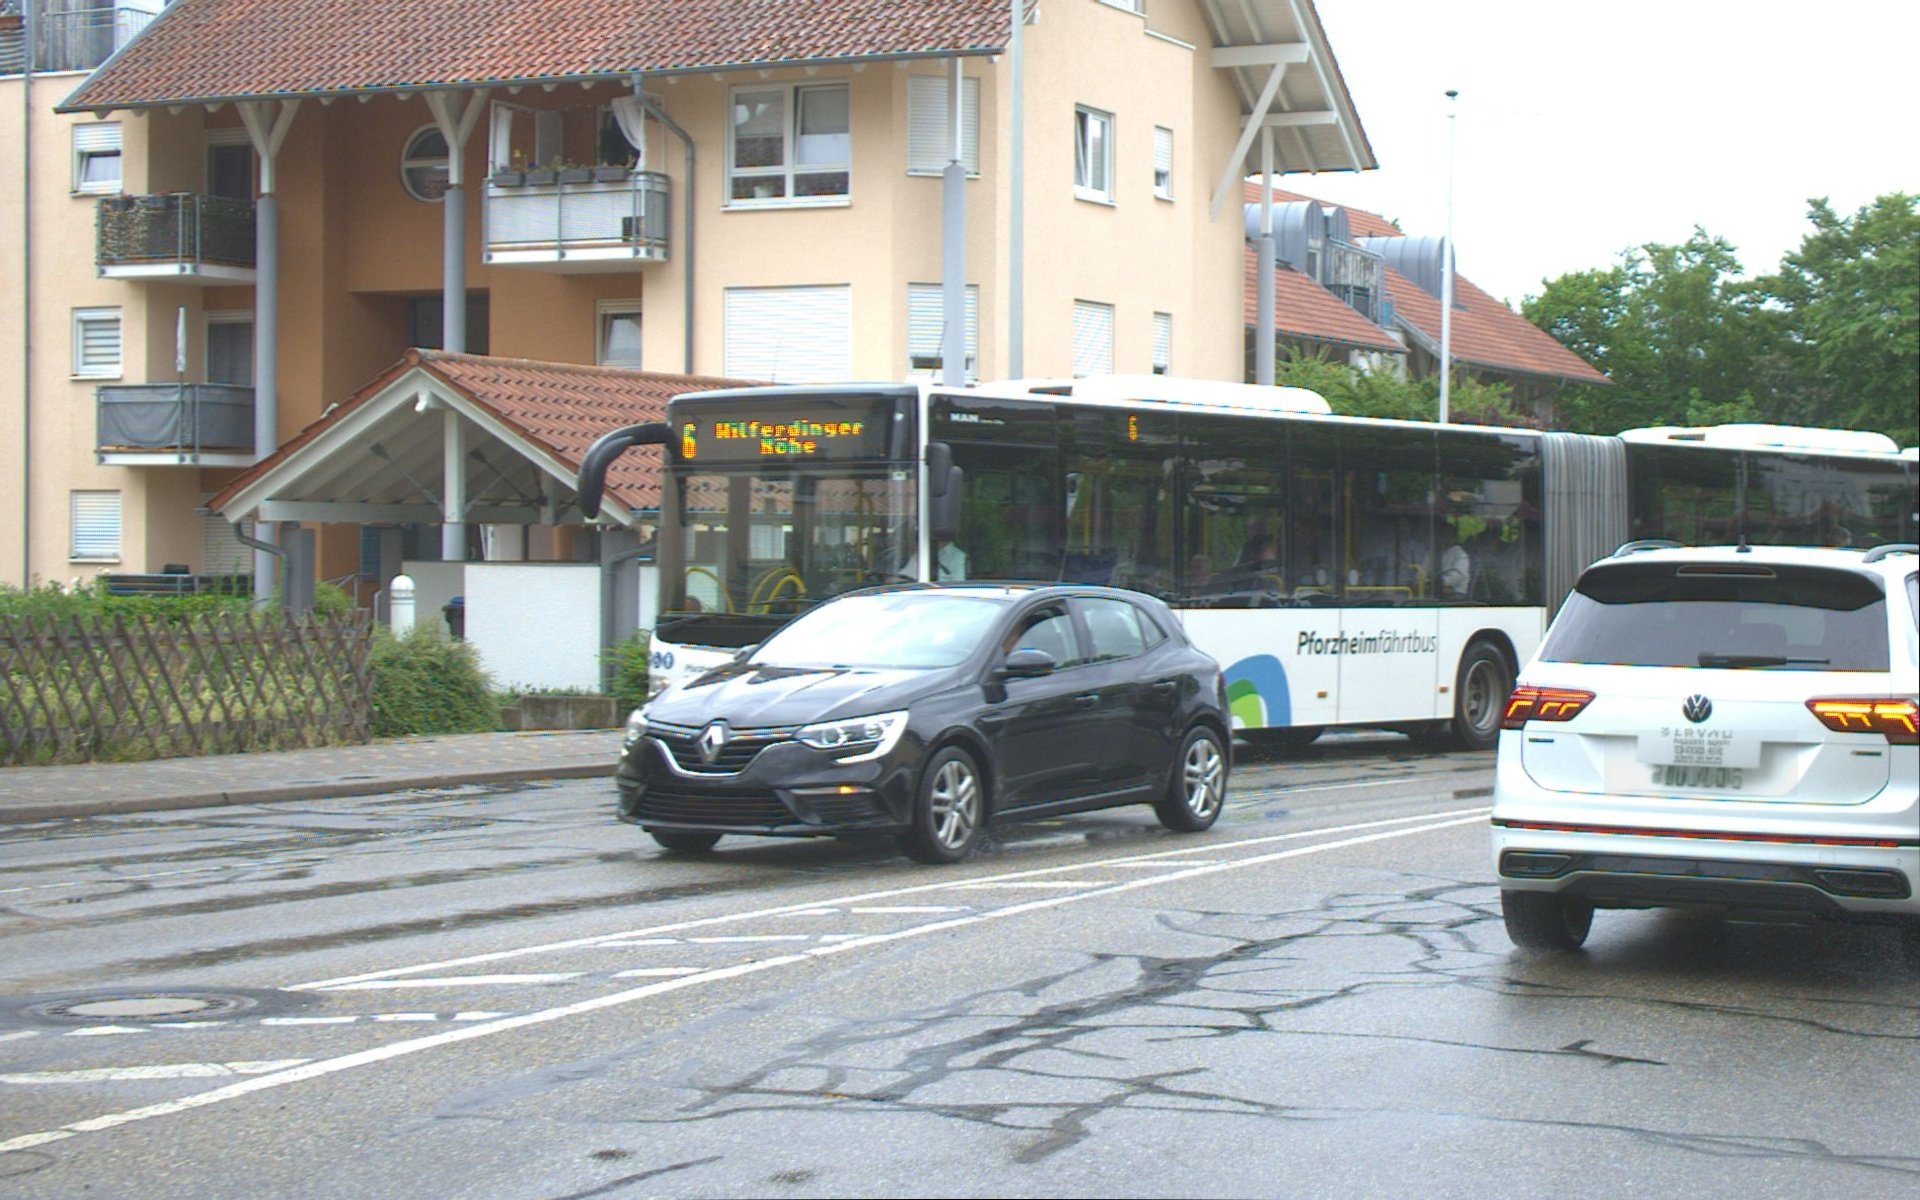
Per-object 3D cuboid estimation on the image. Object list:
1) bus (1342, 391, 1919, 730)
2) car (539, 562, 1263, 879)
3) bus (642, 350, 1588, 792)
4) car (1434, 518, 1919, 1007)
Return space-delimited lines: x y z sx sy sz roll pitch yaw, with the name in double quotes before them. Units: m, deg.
"bus" 7.435 -0.415 34.250 2.592 2.990 8.384 -1 0 44
"car" -0.193 0.571 18.782 1.954 1.514 4.167 -1 0 33
"bus" 1.622 -0.265 27.619 2.552 2.990 9.183 -1 0 39
"car" 3.545 0.554 14.517 1.923 1.716 4.259 1 1 24
